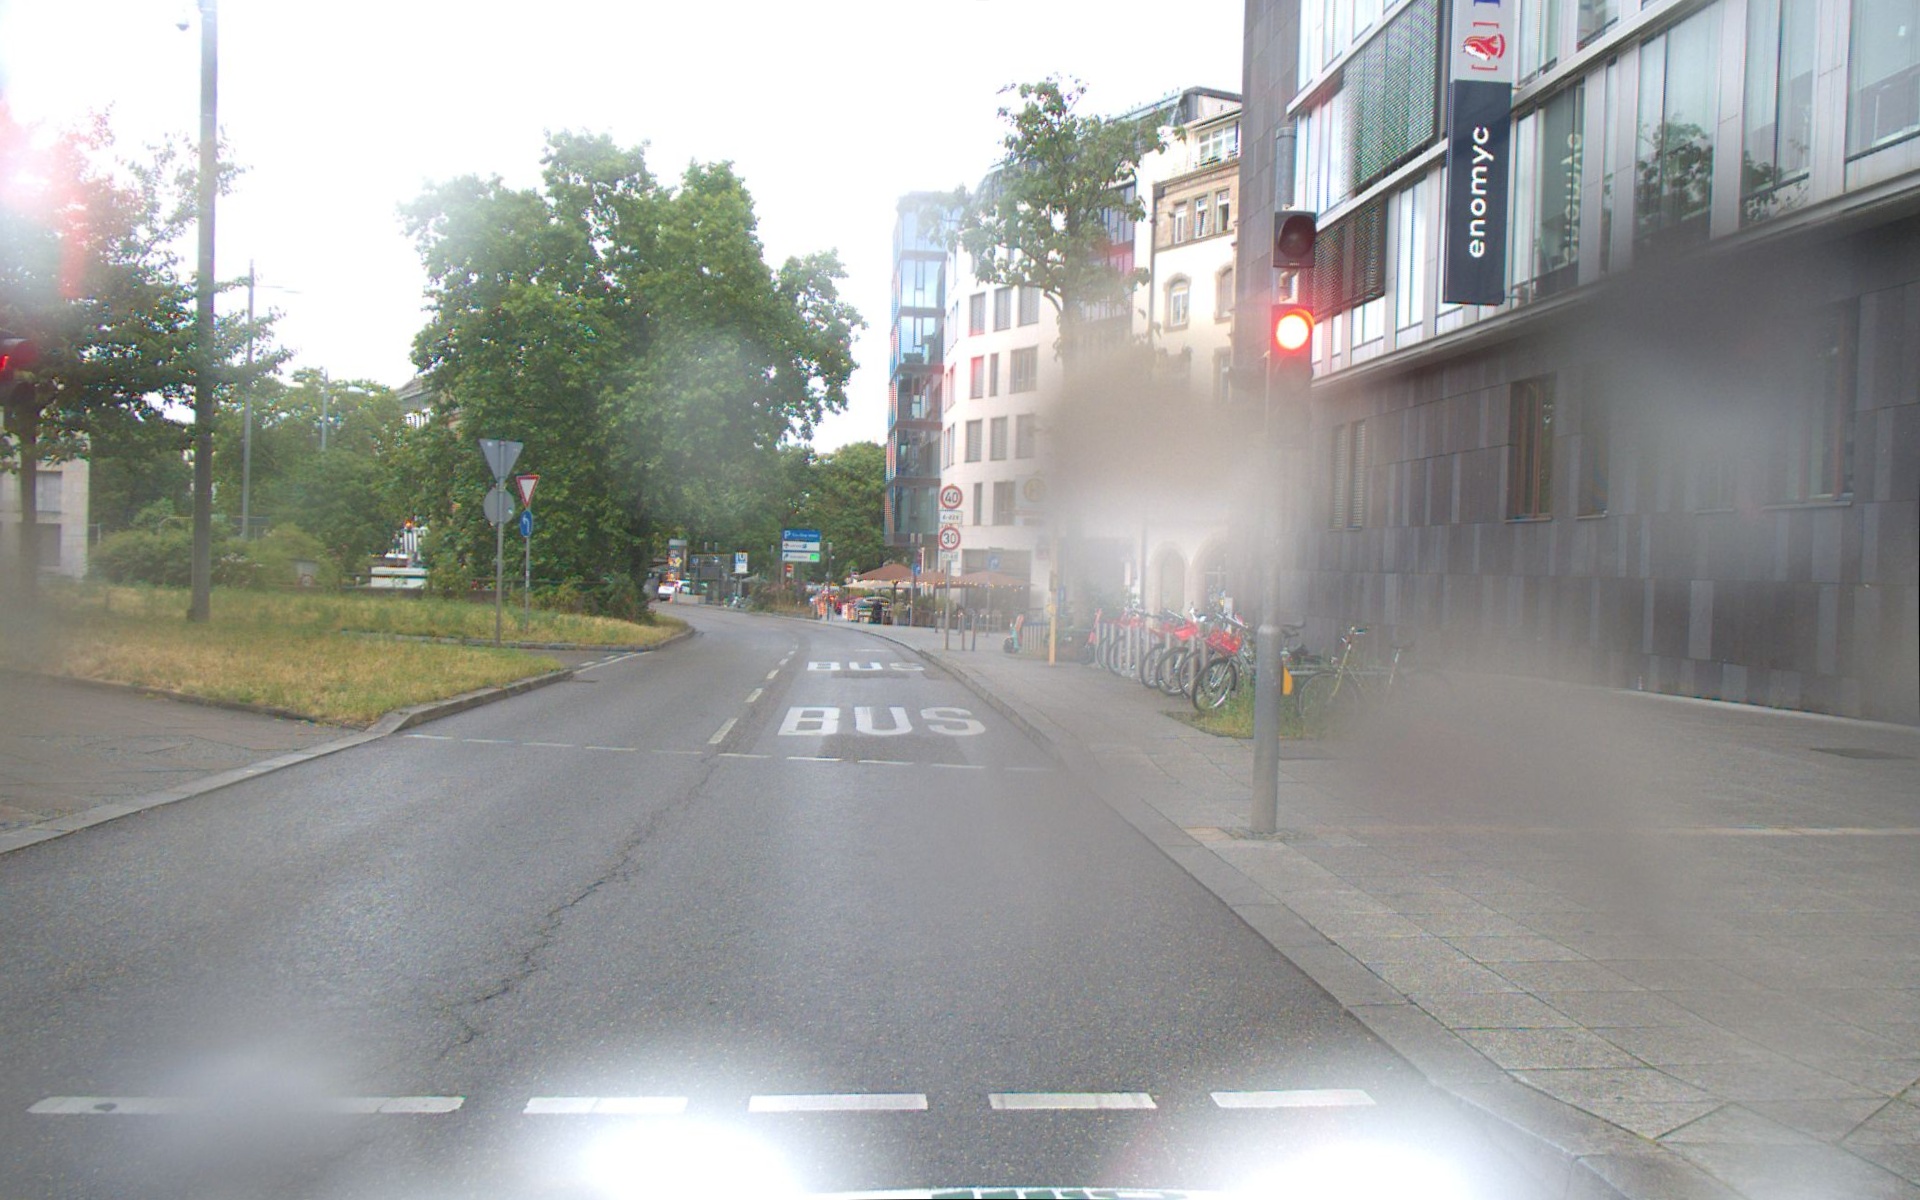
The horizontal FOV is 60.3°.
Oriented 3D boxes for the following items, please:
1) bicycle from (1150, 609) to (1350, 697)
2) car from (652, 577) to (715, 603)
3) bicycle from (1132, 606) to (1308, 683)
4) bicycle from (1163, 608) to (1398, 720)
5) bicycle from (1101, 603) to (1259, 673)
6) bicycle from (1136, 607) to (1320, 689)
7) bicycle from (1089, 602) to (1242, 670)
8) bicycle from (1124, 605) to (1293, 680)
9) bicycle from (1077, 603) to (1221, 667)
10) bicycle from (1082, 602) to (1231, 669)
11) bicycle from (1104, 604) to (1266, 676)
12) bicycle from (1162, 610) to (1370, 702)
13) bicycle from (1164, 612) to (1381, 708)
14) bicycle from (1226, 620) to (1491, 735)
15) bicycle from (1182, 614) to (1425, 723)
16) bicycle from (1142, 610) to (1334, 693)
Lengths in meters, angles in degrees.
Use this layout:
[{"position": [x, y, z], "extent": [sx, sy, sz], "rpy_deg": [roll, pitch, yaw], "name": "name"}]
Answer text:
[{"position": [3.784, 0.693, 21.684], "extent": [2.486, 1.106, 0.677], "rpy_deg": [1, 0, -6], "name": "bicycle"}, {"position": [-19.911, -0.732, 119.250], "extent": [3.960, 1.730, 2.156], "rpy_deg": [2, 0, -39], "name": "car"}, {"position": [3.864, 0.656, 24.658], "extent": [2.486, 1.106, 0.677], "rpy_deg": [1, 0, -6], "name": "bicycle"}, {"position": [3.629, 0.722, 18.791], "extent": [2.487, 1.106, 0.677], "rpy_deg": [3, 0, -6], "name": "bicycle"}, {"position": [3.614, 0.623, 27.224], "extent": [2.486, 1.106, 0.677], "rpy_deg": [1, 0, -6], "name": "bicycle"}, {"position": [3.791, 0.674, 23.460], "extent": [2.486, 1.106, 0.677], "rpy_deg": [1, 0, -6], "name": "bicycle"}, {"position": [3.479, 0.606, 28.111], "extent": [2.486, 1.106, 0.677], "rpy_deg": [1, 0, -6], "name": "bicycle"}, {"position": [3.838, 0.650, 25.636], "extent": [2.486, 1.106, 0.677], "rpy_deg": [1, 0, -6], "name": "bicycle"}, {"position": [3.376, 0.621, 29.579], "extent": [2.486, 1.106, 0.627], "rpy_deg": [1, 0, -6], "name": "bicycle"}, {"position": [3.422, 0.615, 28.857], "extent": [2.486, 1.106, 0.677], "rpy_deg": [1, 0, -6], "name": "bicycle"}, {"position": [3.591, 0.641, 26.471], "extent": [2.486, 1.106, 0.677], "rpy_deg": [1, 0, -6], "name": "bicycle"}, {"position": [3.851, 0.702, 20.875], "extent": [2.486, 1.106, 0.677], "rpy_deg": [1, 0, -6], "name": "bicycle"}, {"position": [3.767, 0.723, 20.019], "extent": [2.486, 1.106, 0.677], "rpy_deg": [1, 0, -6], "name": "bicycle"}, {"position": [3.961, 0.765, 16.516], "extent": [2.487, 1.075, 0.677], "rpy_deg": [1, 0, -6], "name": "bicycle"}, {"position": [3.717, 0.740, 17.989], "extent": [2.487, 1.106, 0.677], "rpy_deg": [1, 0, -6], "name": "bicycle"}, {"position": [3.776, 0.692, 22.551], "extent": [2.486, 1.078, 0.677], "rpy_deg": [1, 0, -6], "name": "bicycle"}]
